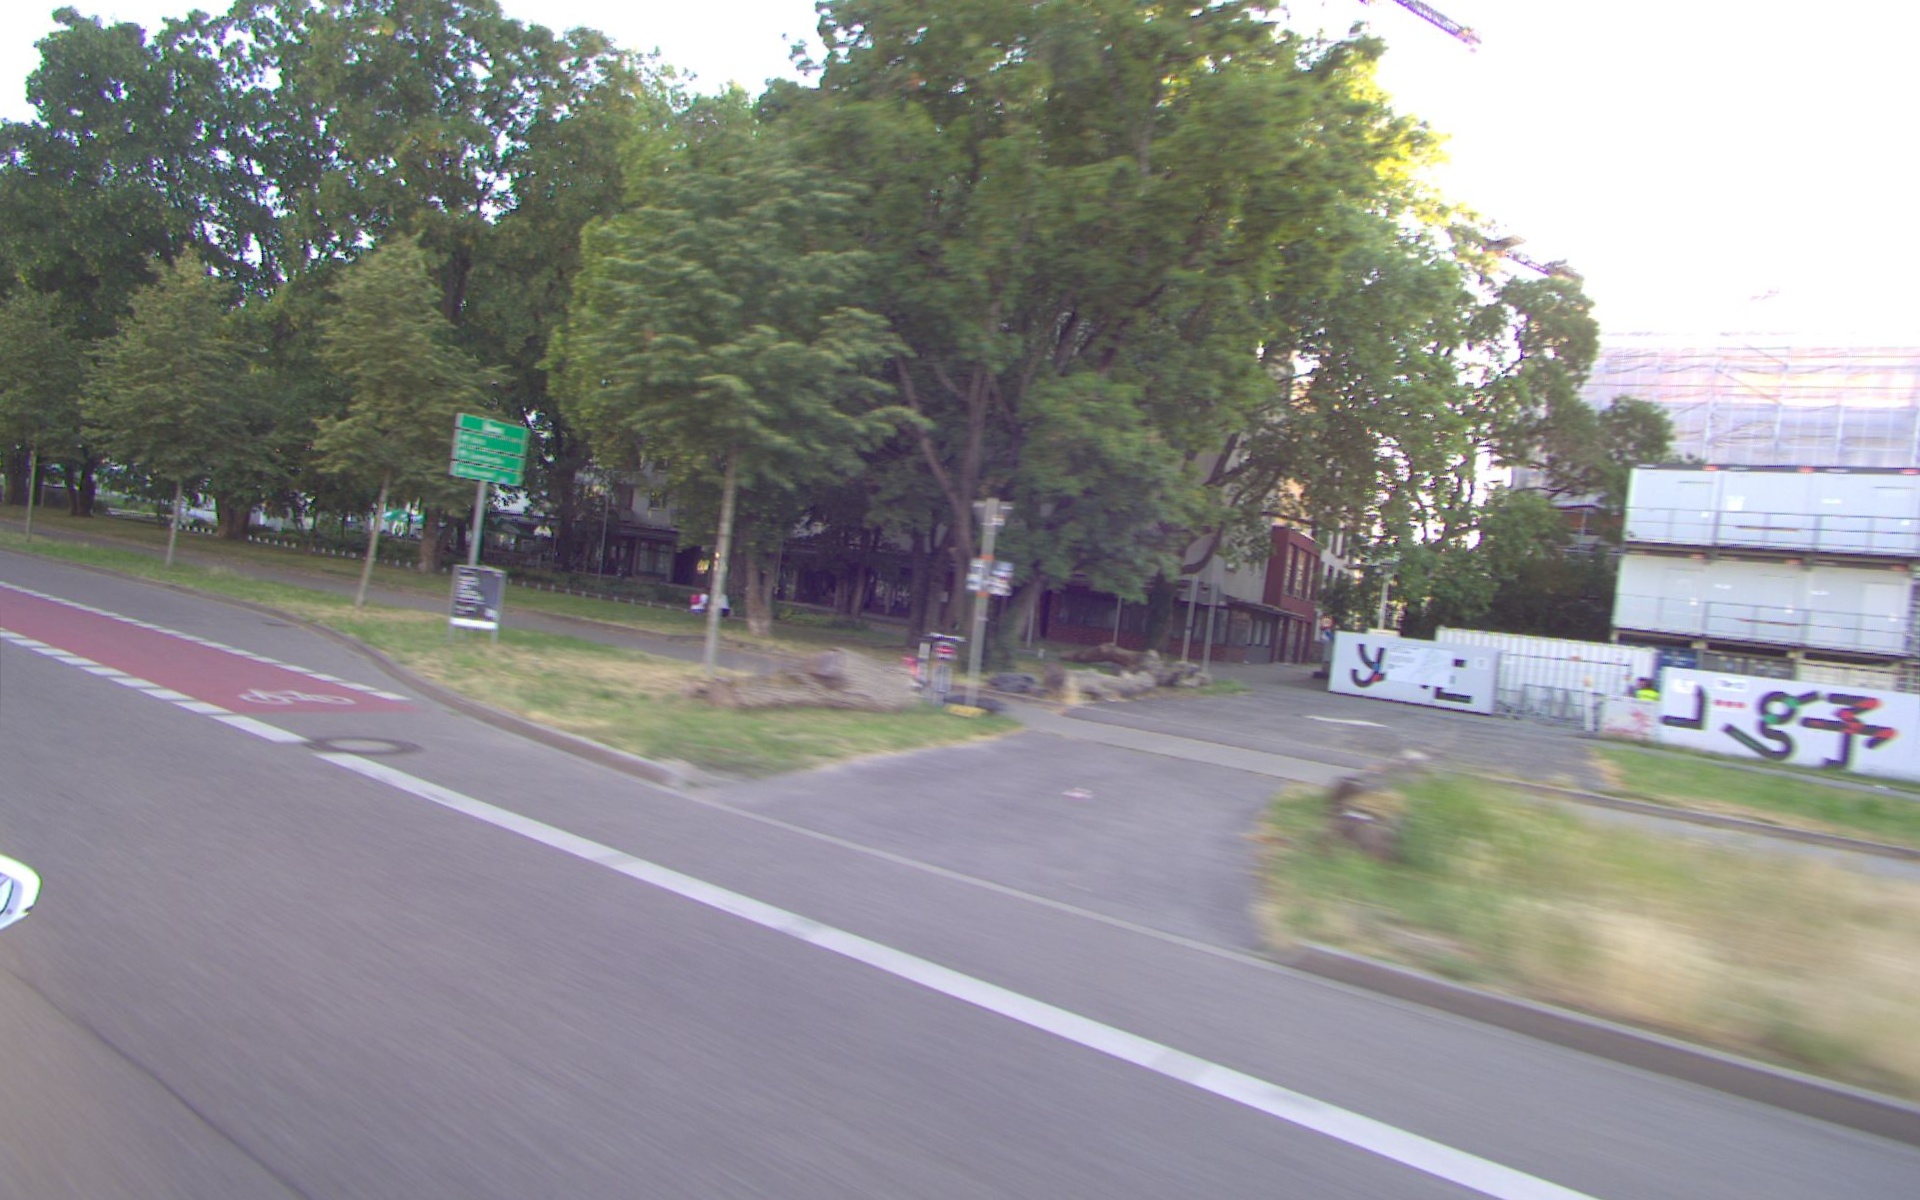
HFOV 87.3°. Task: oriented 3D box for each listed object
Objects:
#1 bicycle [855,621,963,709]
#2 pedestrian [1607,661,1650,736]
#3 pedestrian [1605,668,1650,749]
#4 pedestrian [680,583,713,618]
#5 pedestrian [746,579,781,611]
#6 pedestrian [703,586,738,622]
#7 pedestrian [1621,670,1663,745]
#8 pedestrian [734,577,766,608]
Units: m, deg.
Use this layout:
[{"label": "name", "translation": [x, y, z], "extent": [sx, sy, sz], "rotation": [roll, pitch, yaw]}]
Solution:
[{"label": "bicycle", "translation": [-0.770, 0.917, 14.598], "extent": [0.491, 1.019, 1.877], "rotation": [3, 4, -38]}, {"label": "pedestrian", "translation": [17.631, 2.601, 26.539], "extent": [0.764, 1.880, 0.592], "rotation": [5, 2, -44]}, {"label": "pedestrian", "translation": [16.855, 2.734, 25.397], "extent": [0.764, 1.943, 0.592], "rotation": [5, 2, -44]}, {"label": "pedestrian", "translation": [-7.245, 0.021, 27.702], "extent": [0.582, 0.895, 0.681], "rotation": [7, 1, 7]}, {"label": "pedestrian", "translation": [-8.834, -0.238, 45.224], "extent": [0.891, 1.276, 1.132], "rotation": [7, 1, 34]}, {"label": "pedestrian", "translation": [-6.588, 0.113, 27.670], "extent": [0.612, 0.895, 0.681], "rotation": [9, 1, 7]}, {"label": "pedestrian", "translation": [18.379, 2.892, 27.109], "extent": [0.764, 1.925, 0.592], "rotation": [5, 2, -44]}, {"label": "pedestrian", "translation": [-9.571, -0.339, 45.799], "extent": [0.714, 1.276, 1.132], "rotation": [7, 1, 34]}]
